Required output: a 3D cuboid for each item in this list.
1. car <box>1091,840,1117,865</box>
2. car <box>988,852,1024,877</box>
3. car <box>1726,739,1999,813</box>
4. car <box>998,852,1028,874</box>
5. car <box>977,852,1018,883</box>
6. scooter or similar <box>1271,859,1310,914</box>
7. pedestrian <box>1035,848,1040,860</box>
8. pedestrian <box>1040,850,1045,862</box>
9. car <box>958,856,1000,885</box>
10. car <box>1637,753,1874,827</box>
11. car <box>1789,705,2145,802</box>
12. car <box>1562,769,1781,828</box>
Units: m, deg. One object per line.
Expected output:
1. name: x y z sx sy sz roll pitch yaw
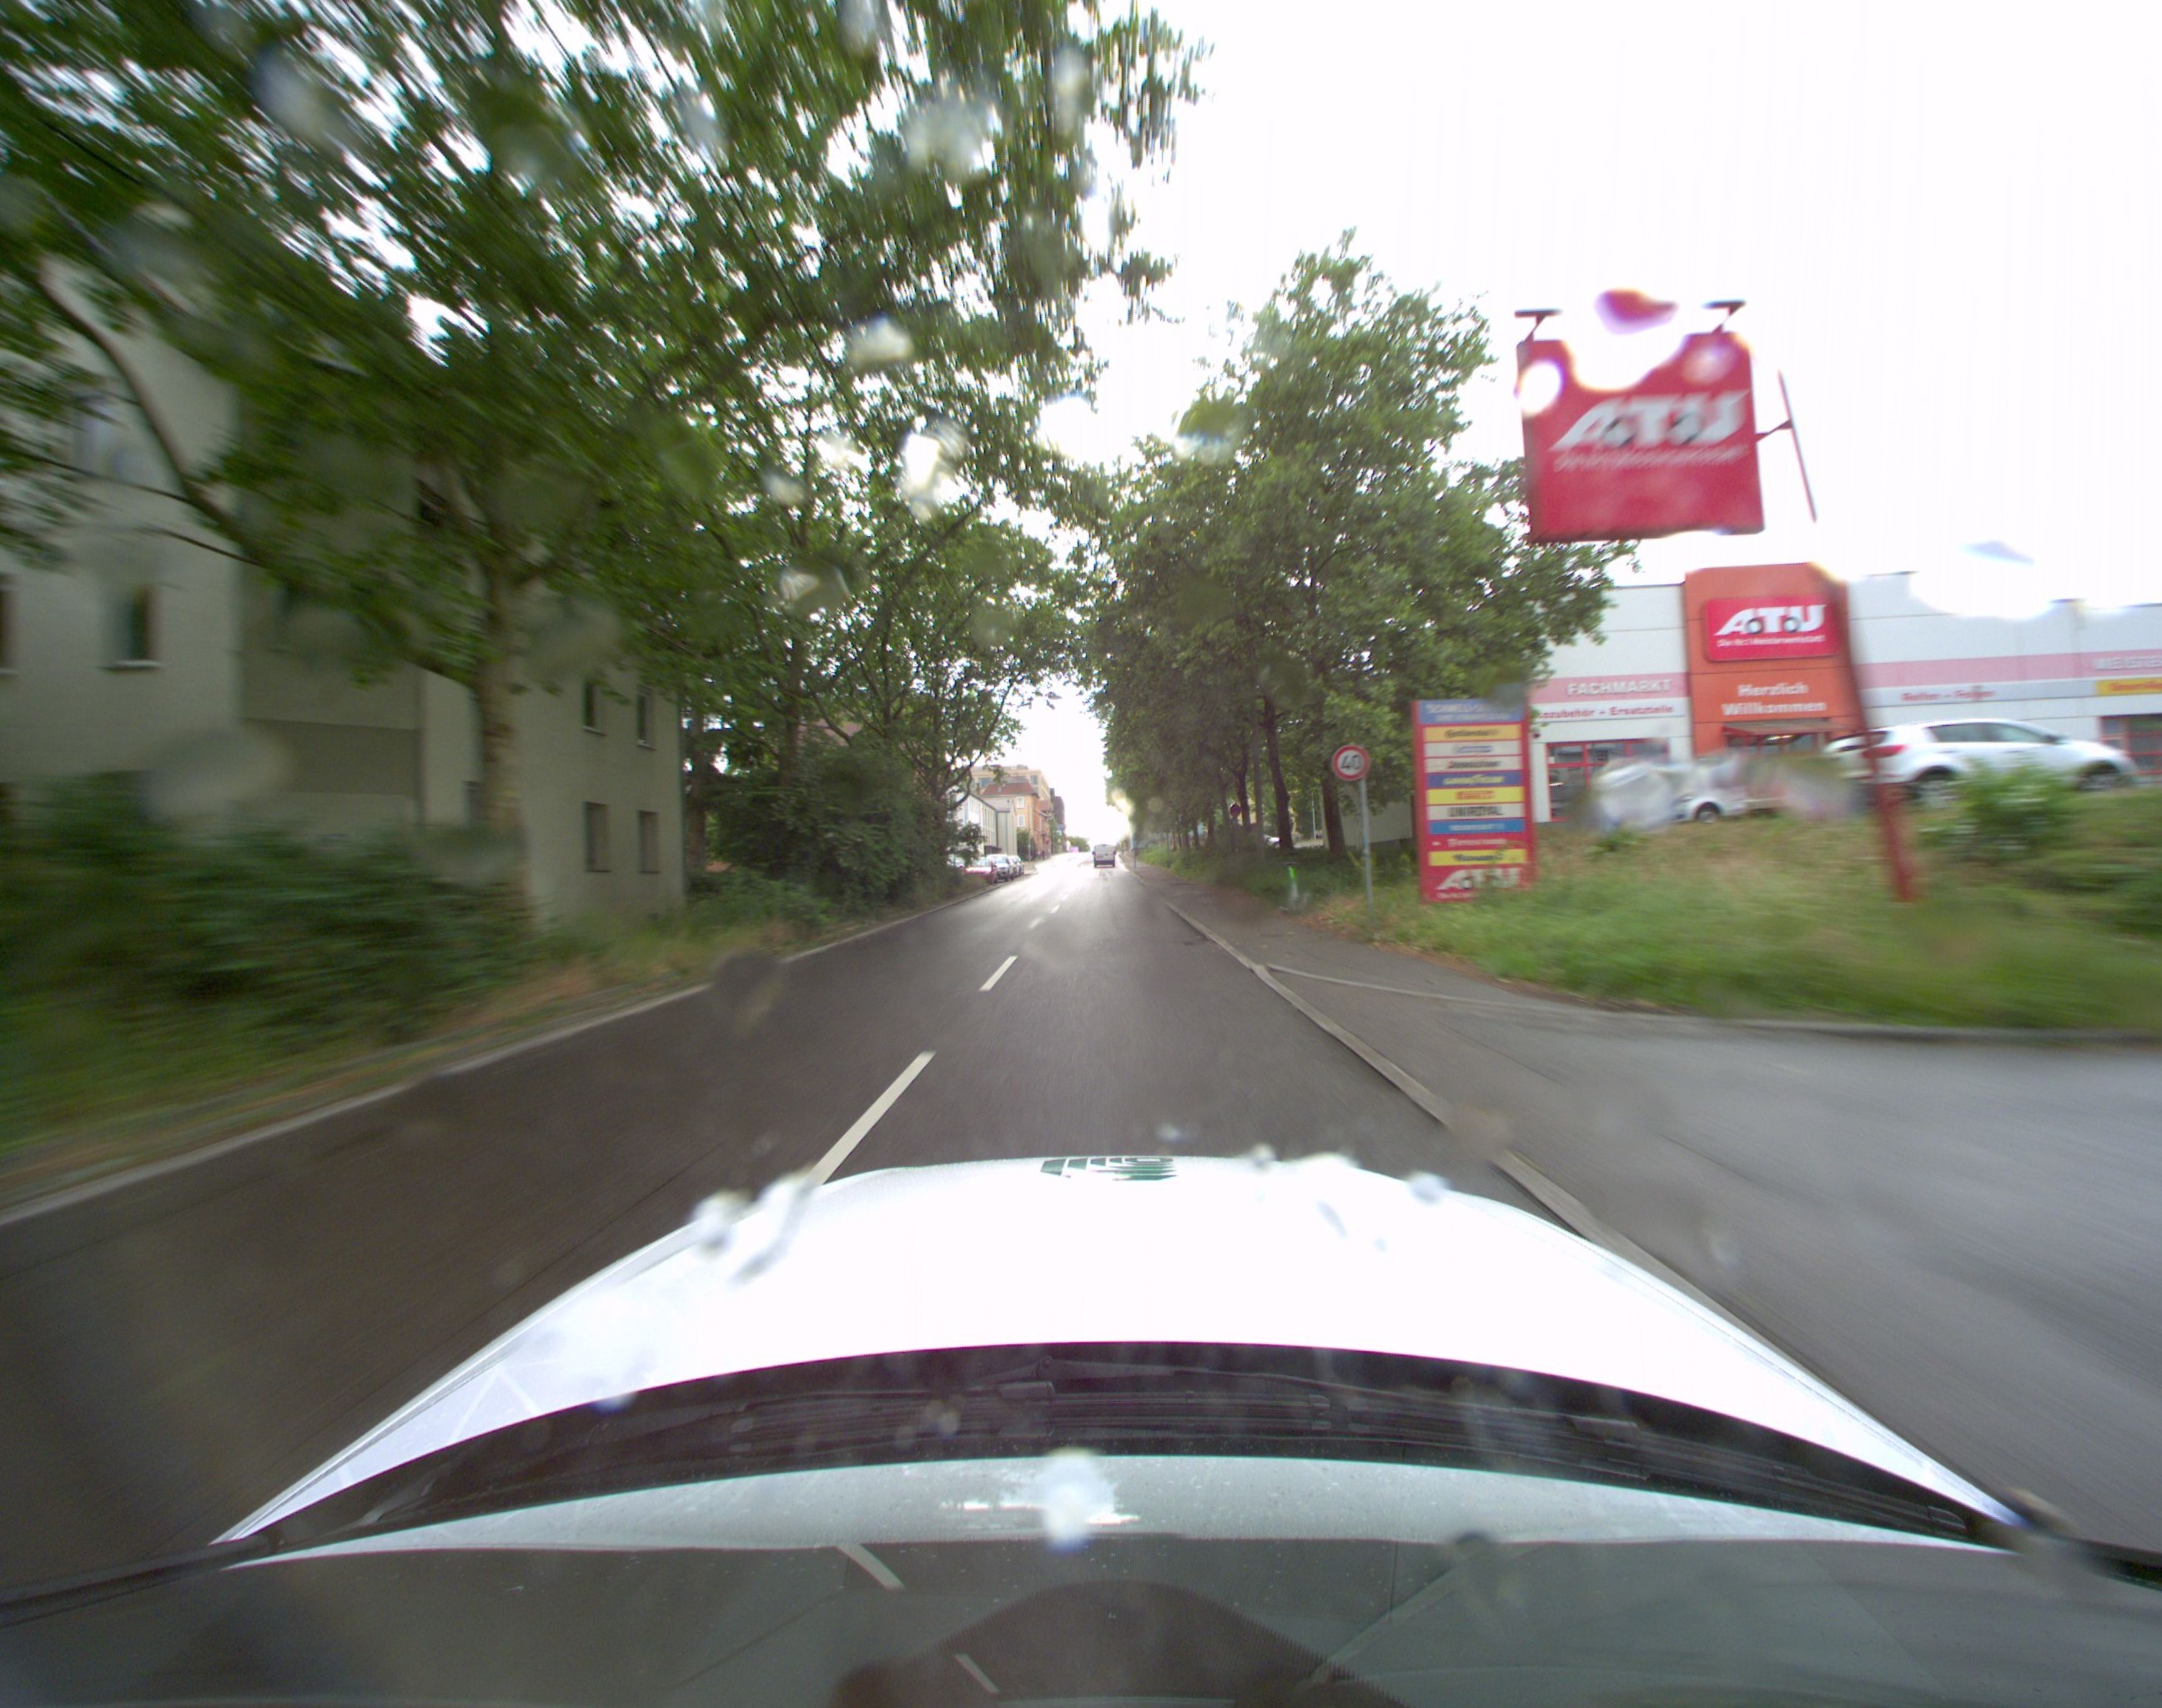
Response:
1. car: 2.279 -0.083 79.059 2.327 2.231 4.002 -3 -1 2
2. car: -4.876 0.671 53.350 1.737 1.482 4.387 -2 0 2
3. car: 16.299 -1.605 17.155 3.903 1.293 1.834 -1 -1 2
4. car: -4.863 0.649 58.376 1.628 1.482 4.360 0 0 2
5. car: -4.780 0.758 47.236 1.684 1.542 4.119 -5 1 2
6. scooter or similar: 4.559 0.712 17.790 0.424 1.142 1.528 0 -2 0
7. pedestrian: -7.146 0.039 133.736 0.668 2.013 0.943 -2 0 6
8. pedestrian: -6.310 0.280 133.864 0.668 2.013 0.943 -2 0 6
9. car: -5.202 0.803 41.837 1.633 1.373 3.758 -1 0 0
10. car: 16.144 -1.489 19.673 4.084 1.466 1.886 -2 0 2
11. car: 15.318 -1.704 14.292 4.083 1.376 1.904 -1 -1 2
12. car: 15.805 -1.465 21.965 4.593 1.334 1.801 -2 0 1
